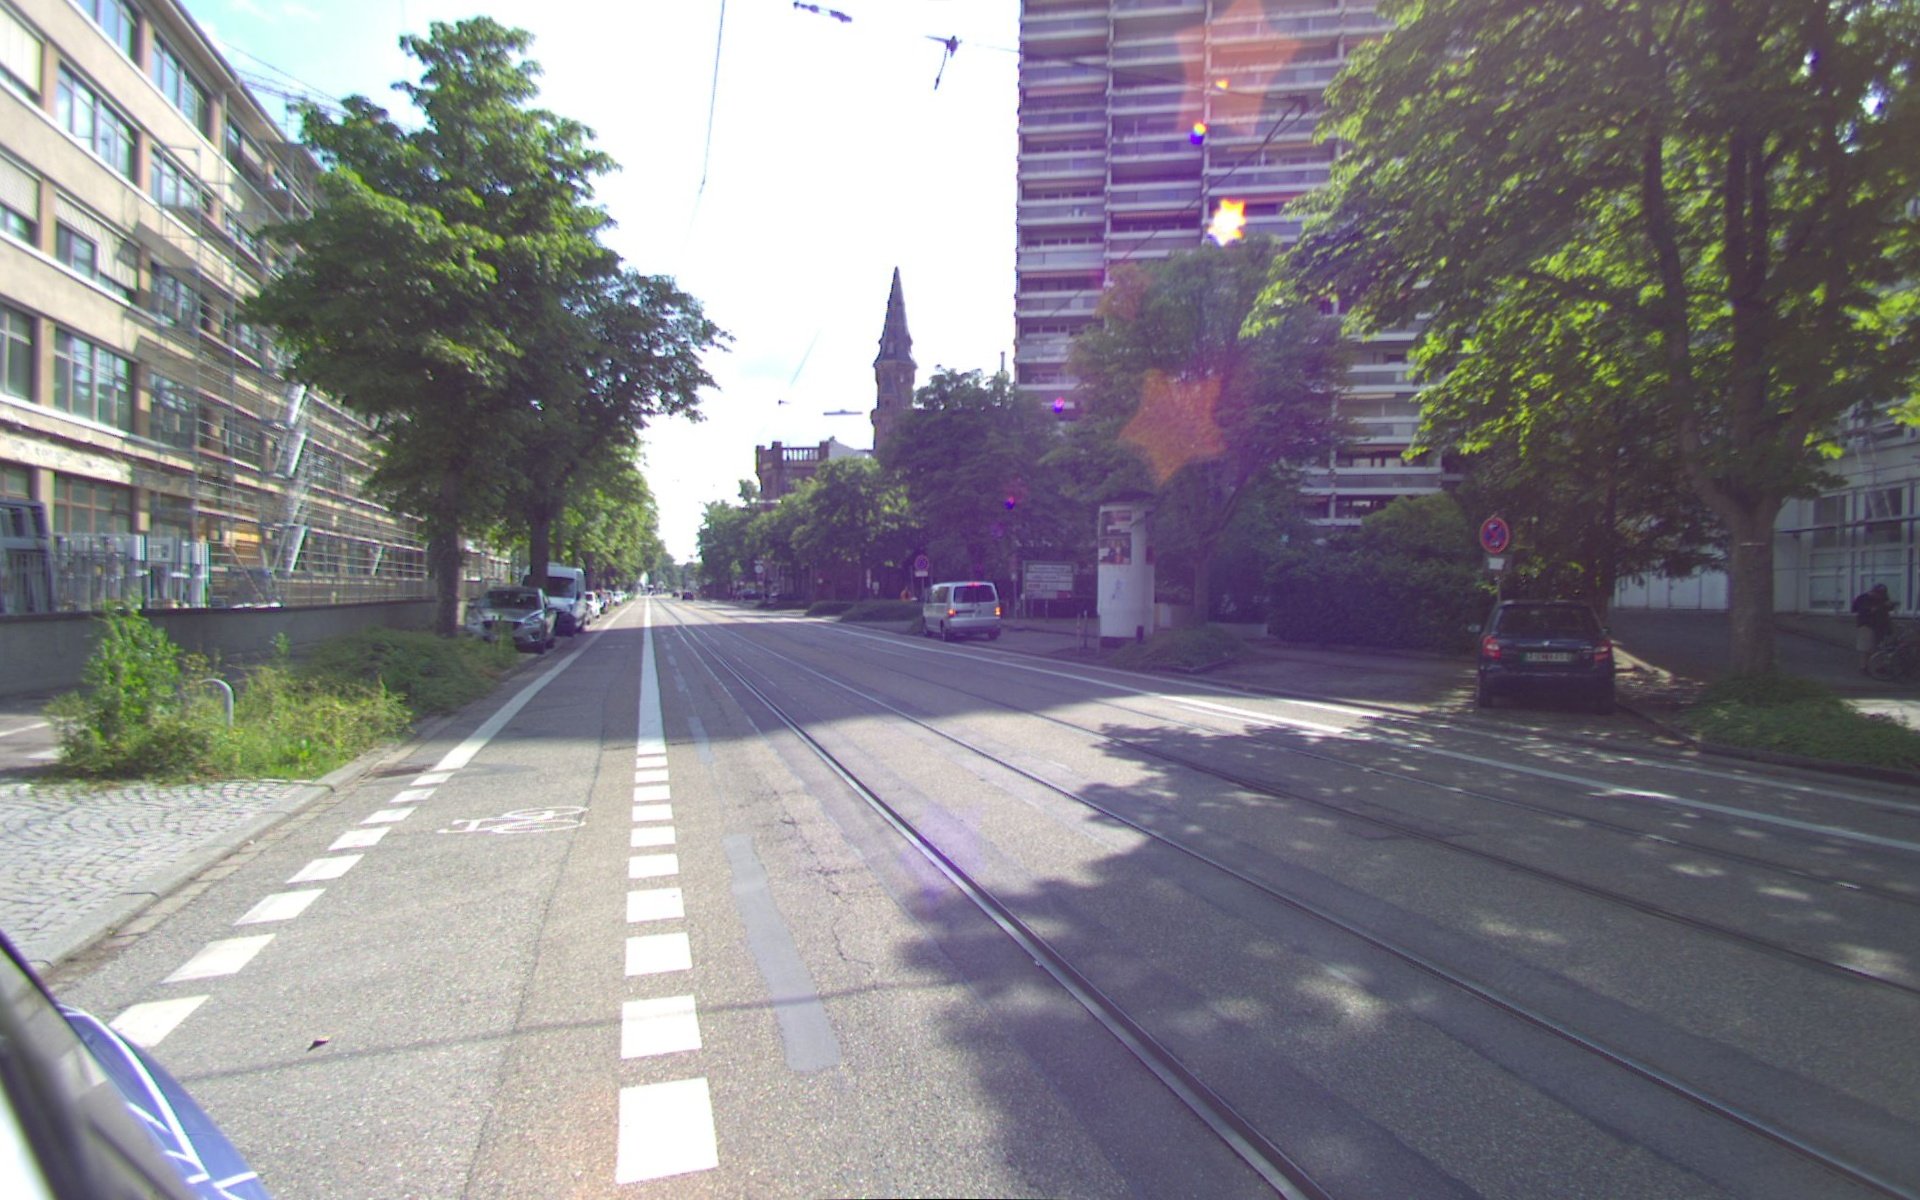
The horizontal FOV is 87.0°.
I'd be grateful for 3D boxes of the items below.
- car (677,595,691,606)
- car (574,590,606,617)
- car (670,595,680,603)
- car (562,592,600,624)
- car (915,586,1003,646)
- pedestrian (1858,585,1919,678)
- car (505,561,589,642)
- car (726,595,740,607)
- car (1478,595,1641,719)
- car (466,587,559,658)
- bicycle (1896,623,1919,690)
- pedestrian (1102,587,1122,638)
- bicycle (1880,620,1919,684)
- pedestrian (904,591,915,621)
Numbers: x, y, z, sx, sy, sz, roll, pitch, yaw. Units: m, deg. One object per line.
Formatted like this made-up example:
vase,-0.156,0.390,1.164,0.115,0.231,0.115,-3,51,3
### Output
car,-43.416,0.053,159.279,1.861,1.656,4.250,0,0,-19
car,-23.725,0.193,64.984,1.721,1.618,4.250,-2,1,-18
car,-66.911,-0.252,237.528,1.861,1.656,4.250,0,0,-19
car,-20.540,0.382,54.931,1.721,1.618,4.250,-2,1,-18
car,-0.117,0.487,34.733,1.861,1.865,4.249,-2,1,-16
pedestrian,16.861,0.550,18.344,0.631,1.636,0.664,0,1,-25
car,-14.586,0.014,36.059,2.299,2.579,5.407,-2,1,-18
car,-32.446,0.129,144.721,1.602,1.586,3.964,4,-1,-17
car,8.519,0.715,14.673,1.733,1.535,3.850,0,0,26
car,-11.410,0.513,26.055,1.721,1.618,4.250,-2,1,-18
bicycle,16.607,0.943,16.768,1.562,1.101,0.541,1,-2,7
pedestrian,5.456,0.438,36.419,0.516,1.767,0.637,-1,3,-11
bicycle,17.092,0.913,17.600,1.562,1.089,0.541,1,-2,7
pedestrian,-2.999,0.352,59.799,0.455,1.767,0.535,-2,3,-23
